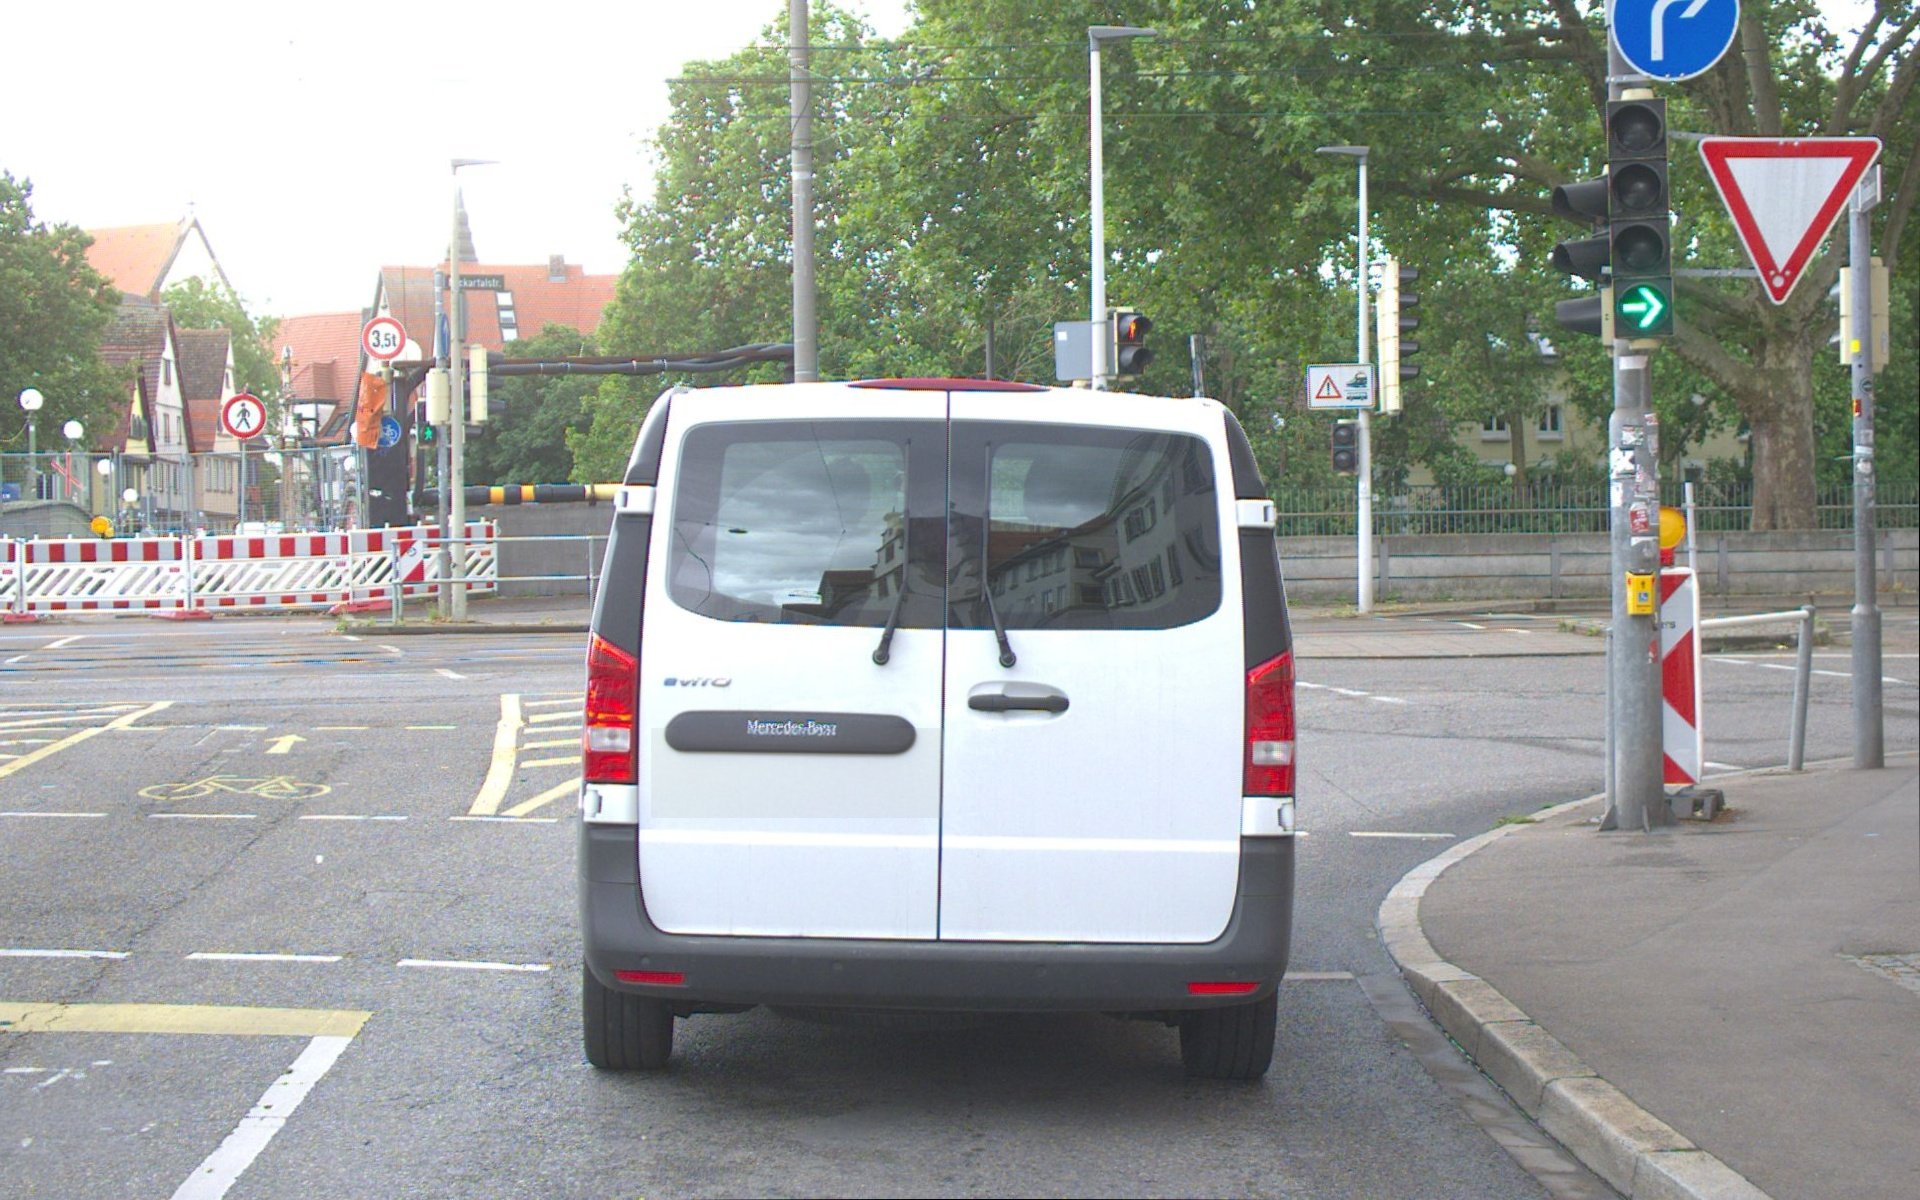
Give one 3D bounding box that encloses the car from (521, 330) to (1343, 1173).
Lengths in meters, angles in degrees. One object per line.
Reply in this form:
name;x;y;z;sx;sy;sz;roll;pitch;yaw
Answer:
car;-0.101;0.293;10.606;1.951;2.006;4.699;1;2;-1
